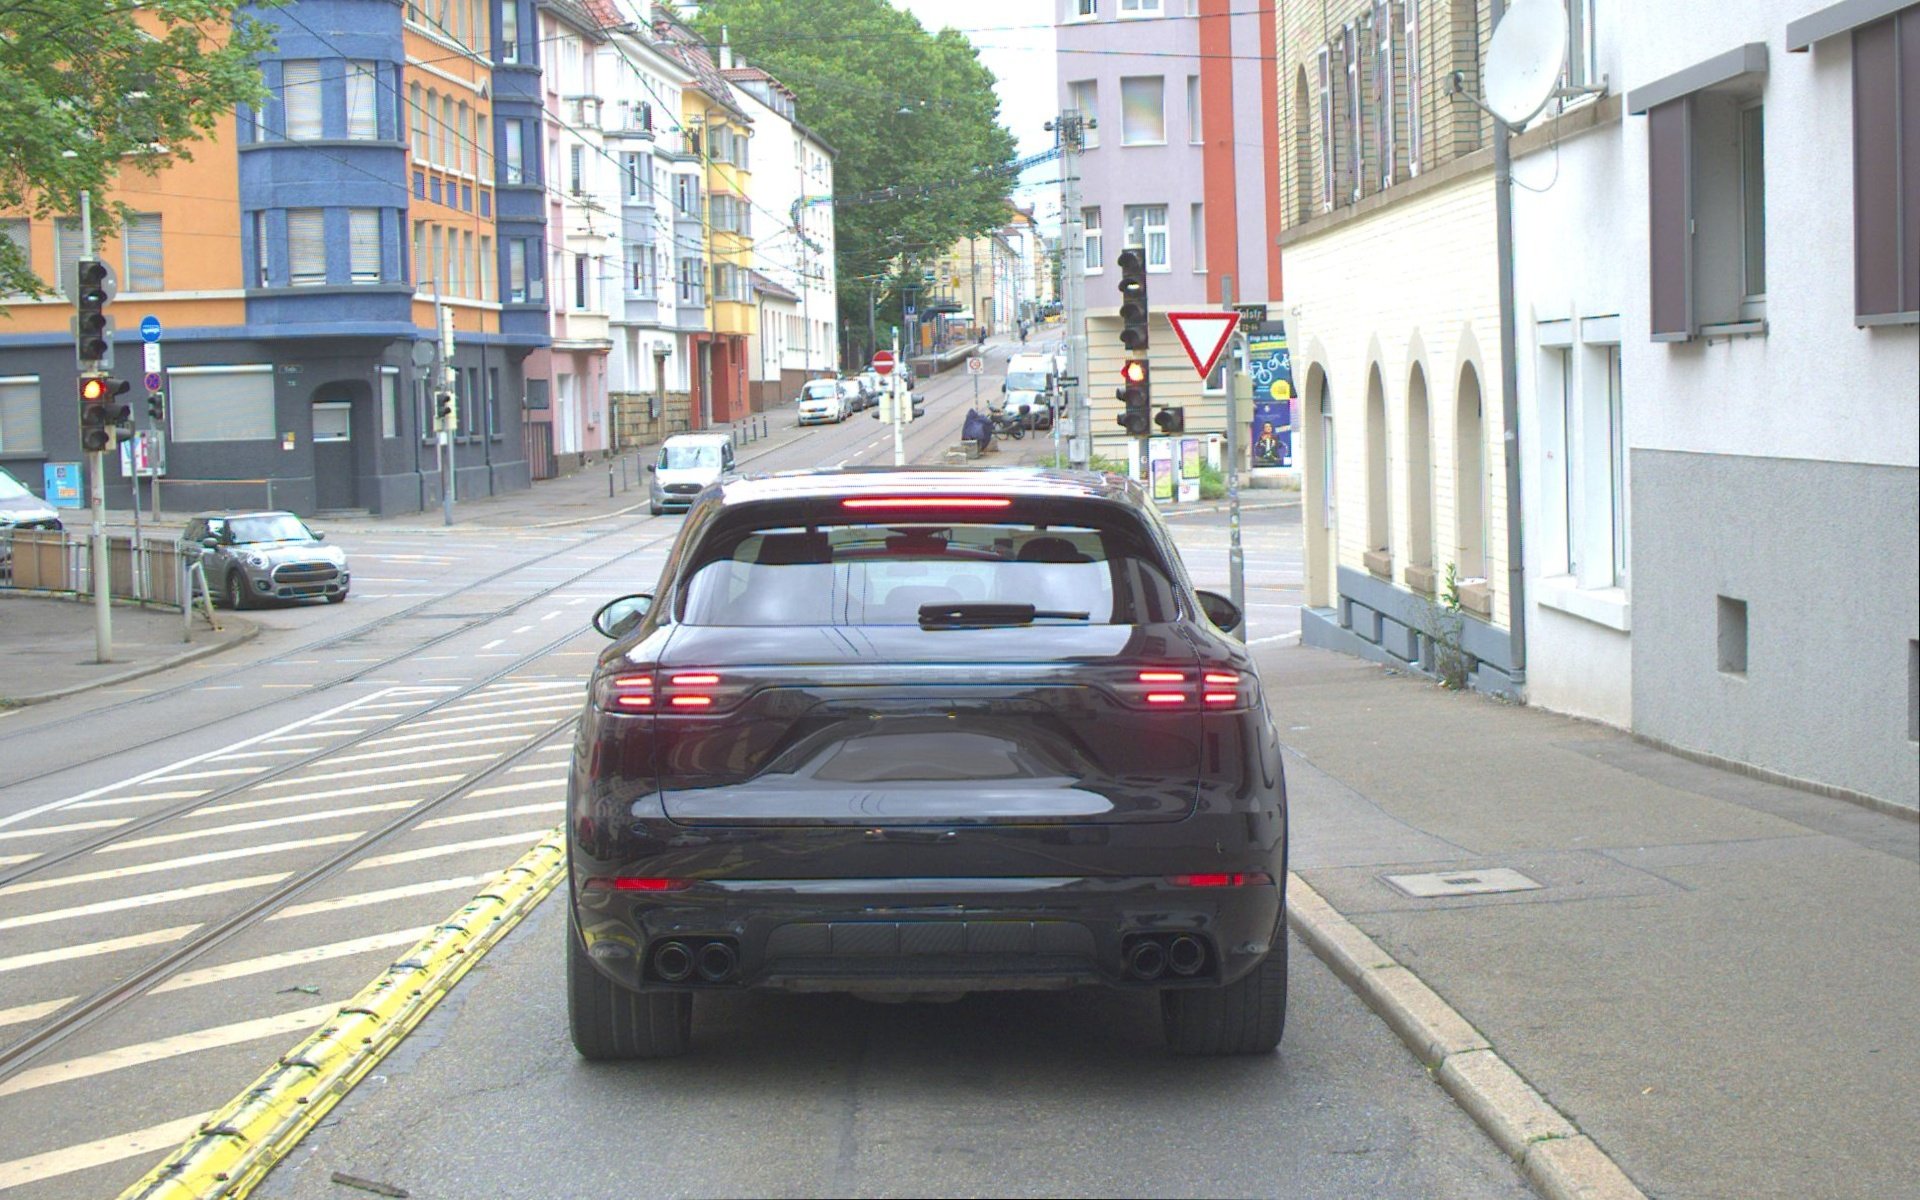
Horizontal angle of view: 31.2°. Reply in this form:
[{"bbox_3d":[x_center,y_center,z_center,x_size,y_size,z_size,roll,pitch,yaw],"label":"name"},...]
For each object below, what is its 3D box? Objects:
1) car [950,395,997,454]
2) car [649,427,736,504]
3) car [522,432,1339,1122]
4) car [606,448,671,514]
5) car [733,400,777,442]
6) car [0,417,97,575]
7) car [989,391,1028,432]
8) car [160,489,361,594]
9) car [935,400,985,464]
[{"bbox_3d":[0.406,-5.375,105.618,1.394,1.716,3.359,-1,1,0],"label":"car"},{"bbox_3d":[-6.445,-3.233,83.216,1.751,1.753,4.254,-1,1,0],"label":"car"},{"bbox_3d":[-0.109,0.393,10.545,1.993,1.670,4.000,-1,1,-1],"label":"car"},{"bbox_3d":[-8.632,-3.183,92.399,1.394,1.716,3.359,-1,1,0],"label":"car"},{"bbox_3d":[-7.625,-6.649,128.143,1.394,1.445,3.359,-1,1,0],"label":"car"},{"bbox_3d":[-17.991,-1.831,59.731,5.294,2.234,1.997,2,-14,20],"label":"car"},{"bbox_3d":[1.838,-7.155,130.676,1.394,1.445,3.359,-1,1,0],"label":"car"},{"bbox_3d":[-10.575,-0.877,51.831,1.634,1.503,3.539,-2,2,-36],"label":"car"},{"bbox_3d":[-0.001,-4.815,98.636,1.394,1.716,3.359,-1,1,0],"label":"car"}]
